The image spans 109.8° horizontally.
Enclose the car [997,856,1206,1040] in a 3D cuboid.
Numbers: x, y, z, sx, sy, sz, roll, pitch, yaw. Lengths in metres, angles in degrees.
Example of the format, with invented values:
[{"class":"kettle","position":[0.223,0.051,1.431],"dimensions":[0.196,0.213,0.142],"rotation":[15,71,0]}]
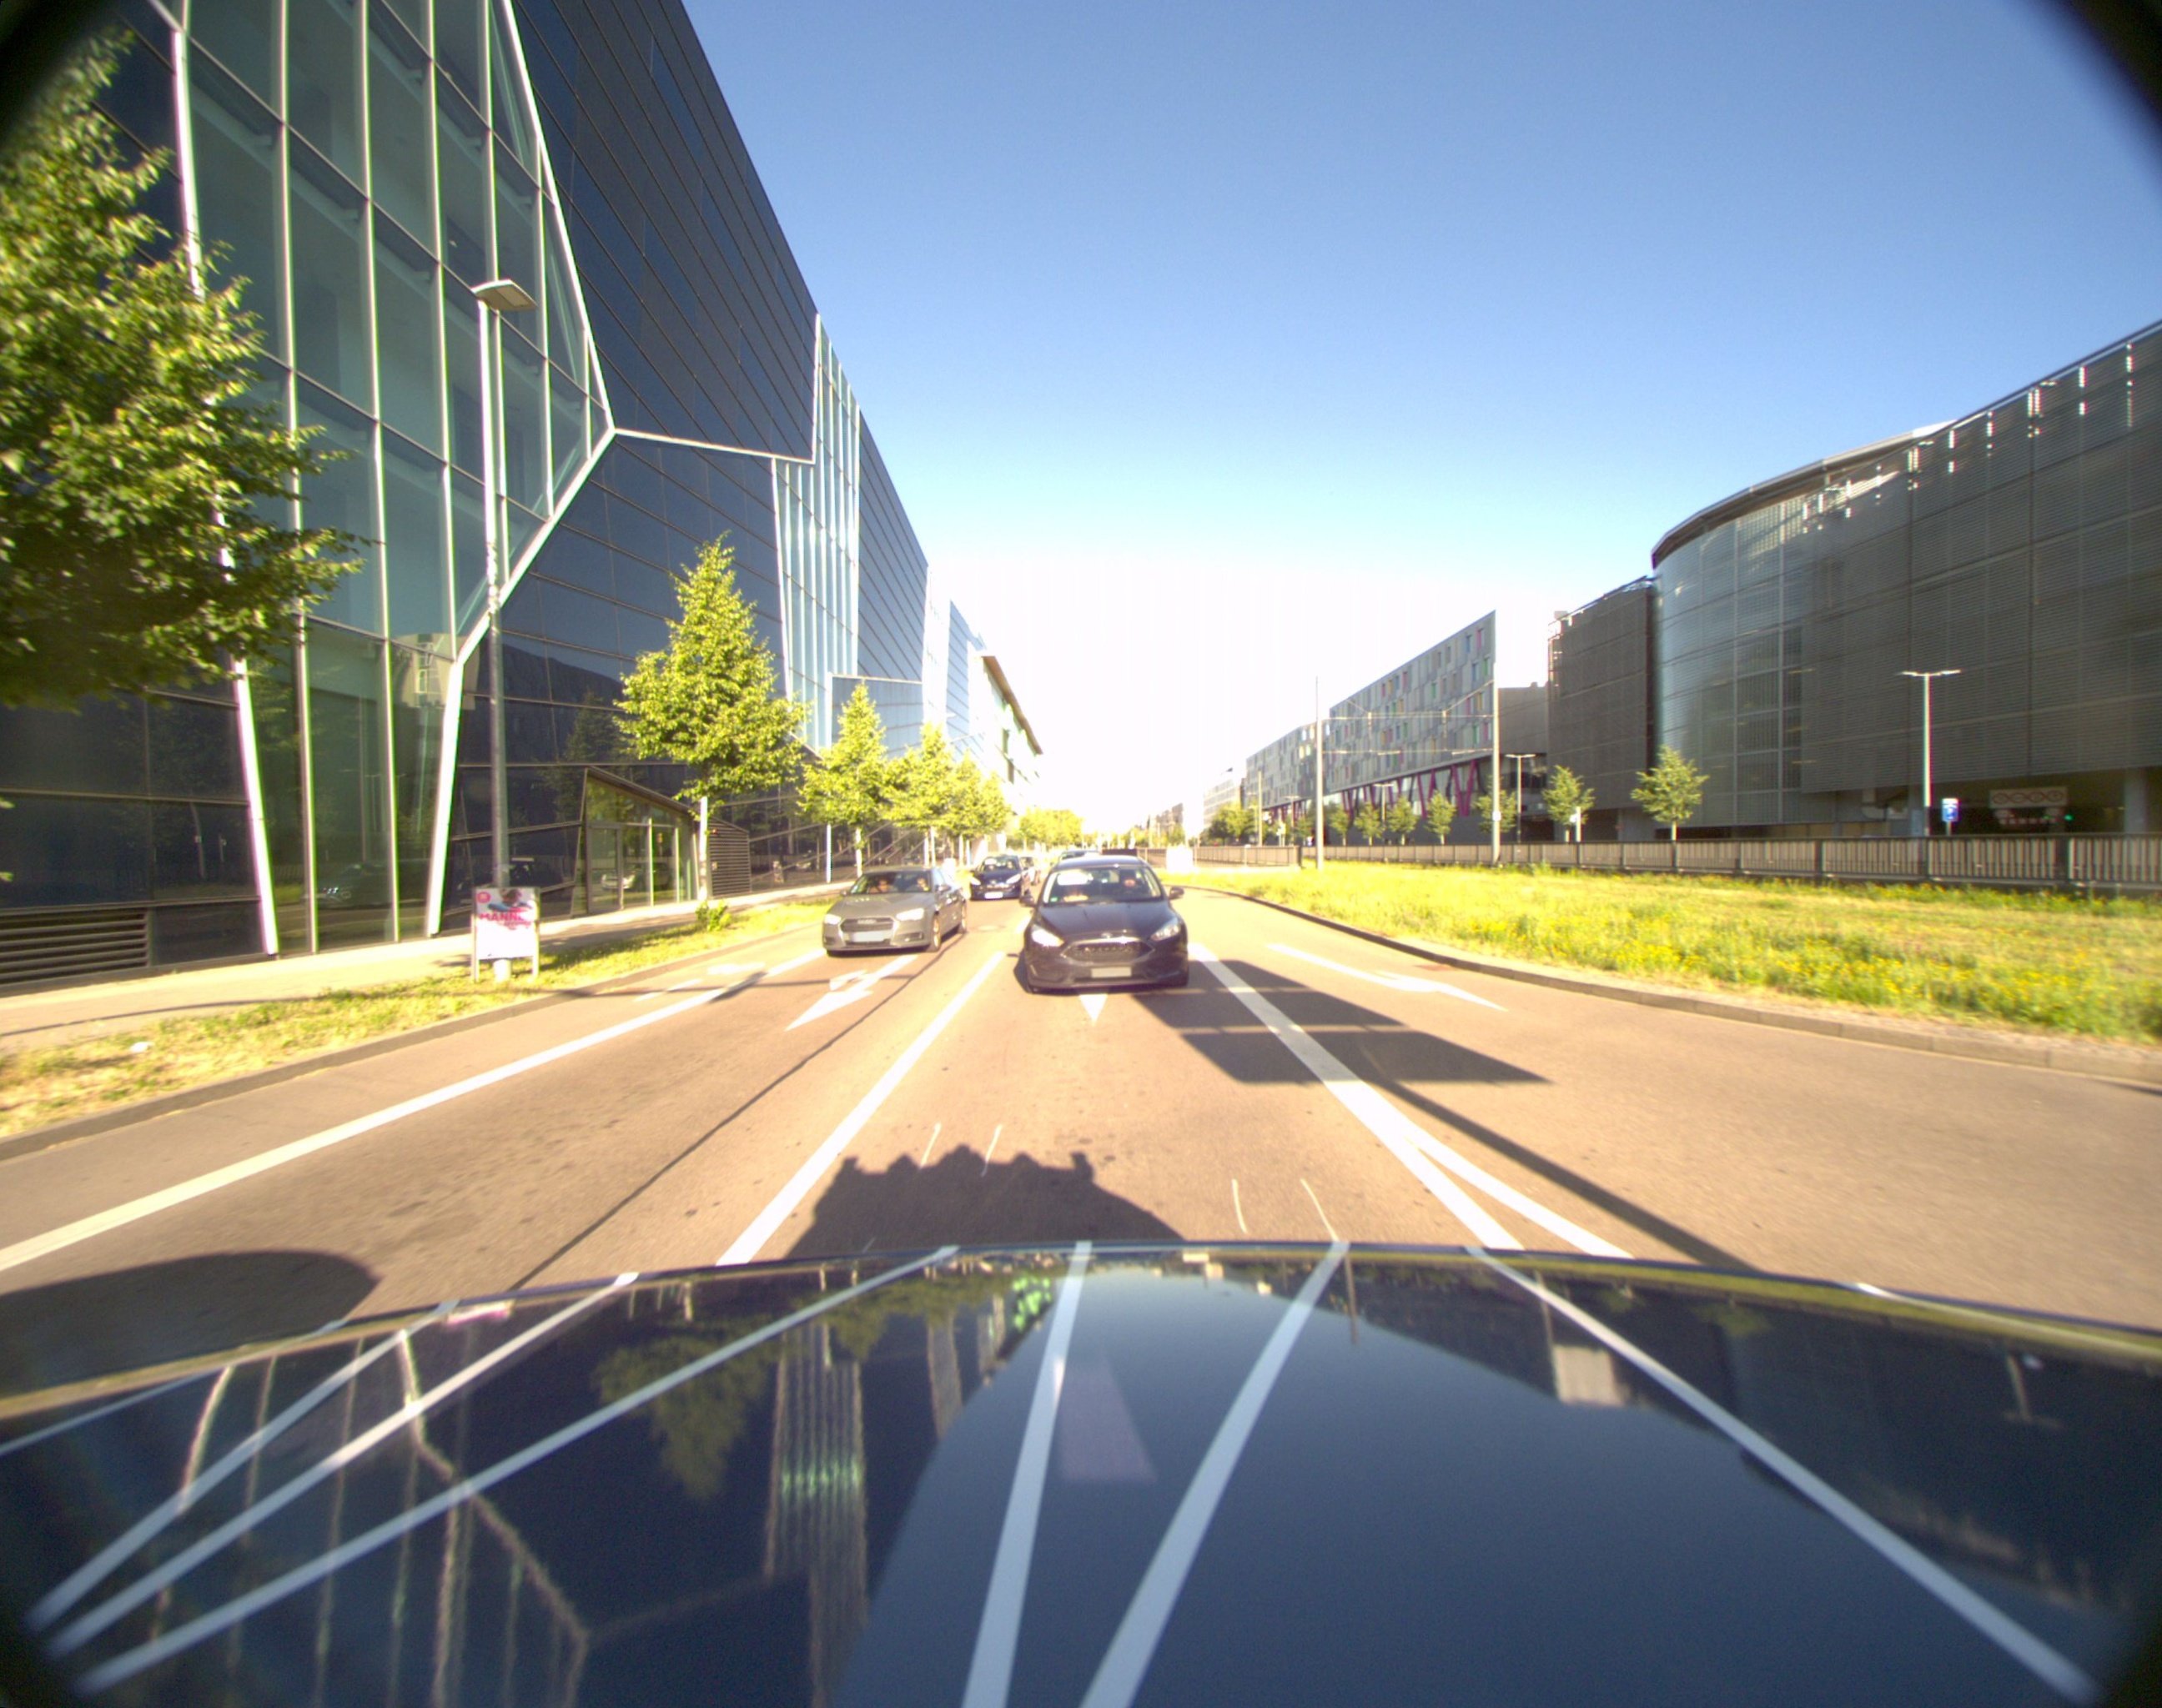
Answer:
[{"class":"car","position":[0.211,0.838,8.964],"dimensions":[1.787,1.499,4.589],"rotation":[-2,1,1]}]

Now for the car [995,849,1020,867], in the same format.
[{"class":"car","position":[-6.455,0.290,67.254],"dimensions":[1.740,1.490,4.715],"rotation":[1,1,1]}]

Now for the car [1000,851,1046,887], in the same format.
[{"class":"car","position":[-2.623,0.662,35.100],"dimensions":[1.753,1.470,3.417],"rotation":[-2,1,1]}]

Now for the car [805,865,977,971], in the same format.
[{"class":"car","position":[-3.134,0.998,13.509],"dimensions":[1.750,1.384,4.264],"rotation":[-2,1,3]}]

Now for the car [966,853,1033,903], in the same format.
[{"class":"car","position":[-2.691,0.757,25.991],"dimensions":[1.753,1.470,3.971],"rotation":[-2,1,1]}]

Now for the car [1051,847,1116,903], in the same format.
[{"class":"car","position":[0.104,0.600,24.477],"dimensions":[1.907,1.612,3.999],"rotation":[-1,1,1]}]

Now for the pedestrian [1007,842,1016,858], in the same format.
[{"class":"pedestrian","position":[-7.934,-0.435,86.978],"dimensions":[0.828,1.814,0.905],"rotation":[3,1,1]}]
